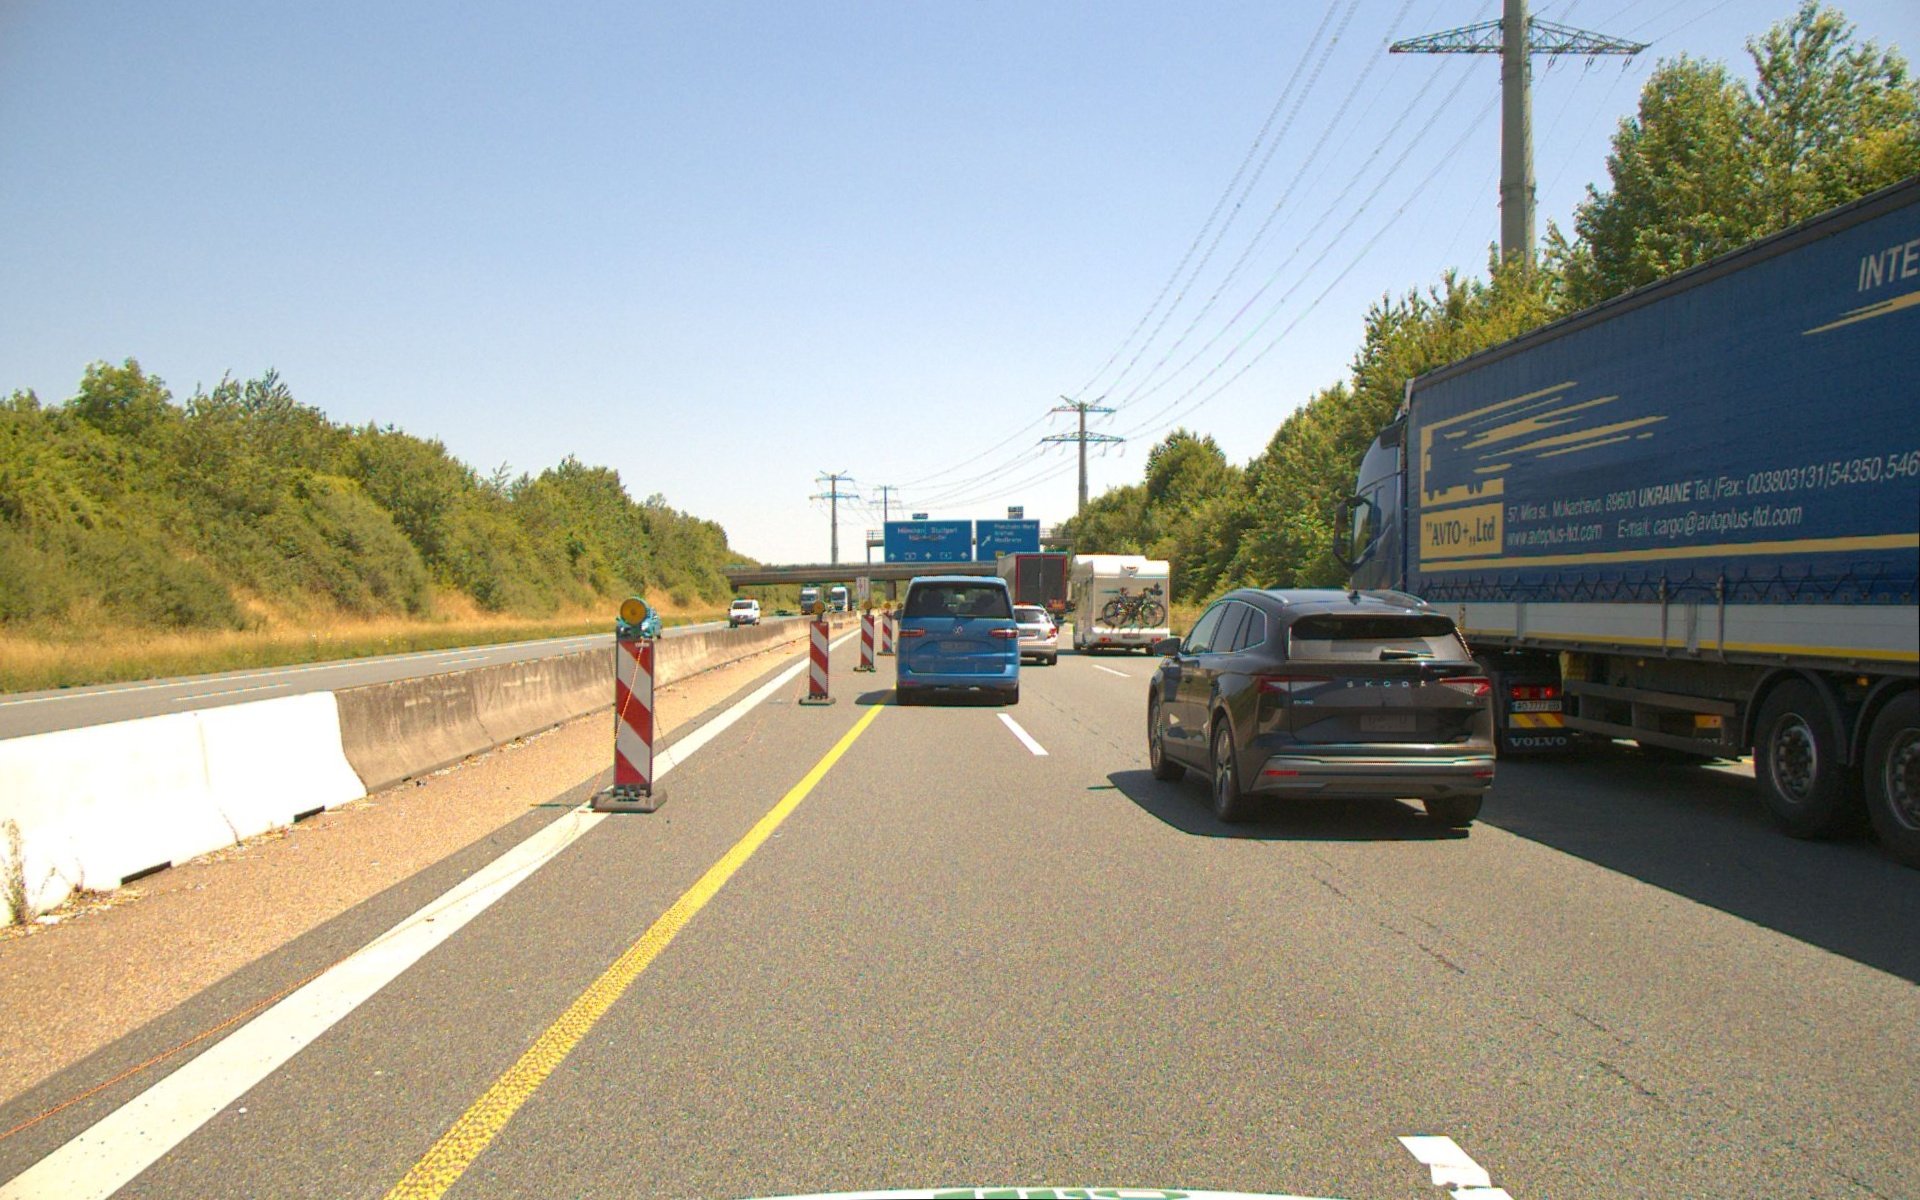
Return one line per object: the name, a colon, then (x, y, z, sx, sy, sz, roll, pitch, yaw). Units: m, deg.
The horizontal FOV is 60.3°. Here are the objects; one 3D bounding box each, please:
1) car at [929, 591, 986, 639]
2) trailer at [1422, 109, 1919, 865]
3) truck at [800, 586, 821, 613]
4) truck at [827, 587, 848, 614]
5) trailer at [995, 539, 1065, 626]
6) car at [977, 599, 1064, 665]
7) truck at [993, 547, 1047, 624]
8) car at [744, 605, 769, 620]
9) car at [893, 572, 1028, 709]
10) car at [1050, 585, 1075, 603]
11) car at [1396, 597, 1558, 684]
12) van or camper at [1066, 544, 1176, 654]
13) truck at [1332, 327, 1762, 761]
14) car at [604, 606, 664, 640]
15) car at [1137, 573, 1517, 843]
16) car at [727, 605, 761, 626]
car: (-0.141, 0.534, 61.725, 1.837, 1.700, 4.356, 1, 0, -4)
trailer: (6.752, -0.628, 11.805, 2.712, 4.338, 12.871, 1, 0, -3)
truck: (-22.777, -0.060, 252.321, 2.667, 3.987, 6.776, 1, 0, -1)
truck: (-18.819, 0.067, 254.375, 2.667, 3.987, 6.776, 1, 0, -1)
trailer: (3.491, -0.798, 85.870, 2.727, 4.118, 13.108, 1, 0, -1)
car: (1.456, 0.774, 41.478, 1.735, 1.544, 4.356, 1, 0, -4)
truck: (3.325, -0.786, 92.791, 2.677, 4.118, 5.792, 1, 0, -1)
car: (-19.712, 1.204, 160.556, 1.953, 1.422, 3.999, -2, 0, -1)
car: (-0.073, 0.589, 26.014, 1.837, 1.945, 4.356, 1, 0, -4)
car: (9.968, -0.579, 160.926, 1.837, 1.700, 4.356, 1, 0, -4)
car: (10.845, 0.808, 35.033, 1.837, 1.700, 4.356, 1, 0, -4)
van or camper: (4.839, -0.014, 50.999, 2.321, 3.097, 7.629, 1, 0, -2)
truck: (6.427, -0.533, 19.098, 2.729, 4.217, 5.634, 1, 0, -3)
car: (-14.708, 1.036, 74.841, 1.953, 1.422, 3.999, -2, 0, -1)
car: (2.565, 0.692, 12.670, 1.667, 1.684, 4.426, 1, 0, -4)
car: (-15.508, 1.130, 118.977, 1.953, 1.422, 3.999, -2, 0, -1)
